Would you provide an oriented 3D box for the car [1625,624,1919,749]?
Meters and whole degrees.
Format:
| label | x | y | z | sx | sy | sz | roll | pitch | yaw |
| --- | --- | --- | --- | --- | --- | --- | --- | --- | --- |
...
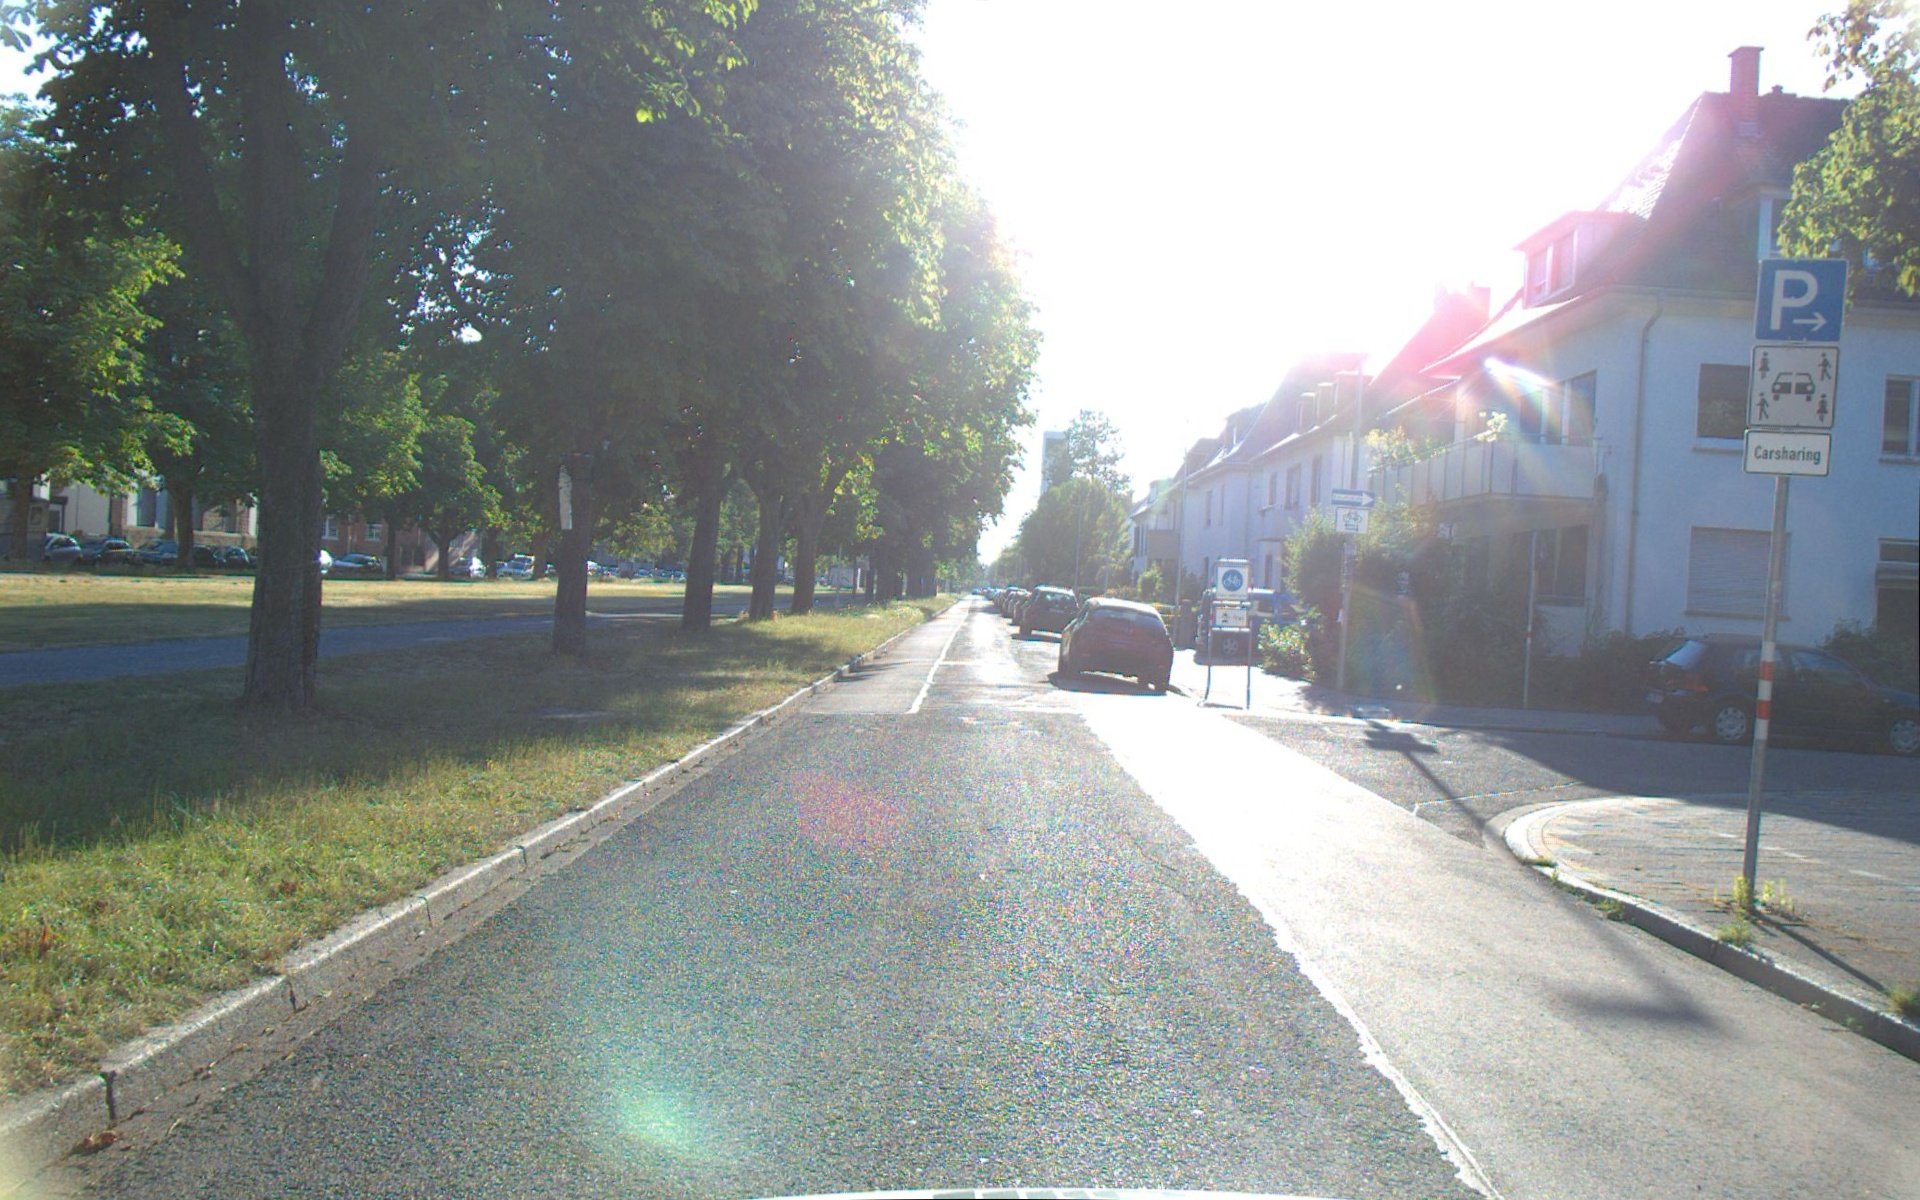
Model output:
| label | x | y | z | sx | sy | sz | roll | pitch | yaw |
| --- | --- | --- | --- | --- | --- | --- | --- | --- | --- |
| car | 11.779 | 1.213 | 23.498 | 3.906 | 1.472 | 1.716 | 4 | 0 | 0 |

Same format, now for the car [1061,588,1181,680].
| label | x | y | z | sx | sy | sz | roll | pitch | yaw |
| --- | --- | --- | --- | --- | --- | --- | --- | --- | --- |
| car | 2.830 | 0.576 | 29.805 | 1.675 | 1.383 | 4.203 | 5 | 0 | 1 |

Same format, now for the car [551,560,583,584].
| label | x | y | z | sx | sy | sz | roll | pitch | yaw |
| --- | --- | --- | --- | --- | --- | --- | --- | --- | --- |
| car | -33.318 | -2.352 | 140.190 | 1.694 | 1.718 | 3.877 | 5 | -1 | -1 |

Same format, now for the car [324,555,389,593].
| label | x | y | z | sx | sy | sz | roll | pitch | yaw |
| --- | --- | --- | --- | --- | --- | --- | --- | --- | --- |
| car | -32.734 | -1.413 | 89.814 | 1.775 | 1.811 | 4.123 | 5 | 0 | 1 |

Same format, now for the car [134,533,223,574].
| label | x | y | z | sx | sy | sz | roll | pitch | yaw |
| --- | --- | --- | --- | --- | --- | --- | --- | --- | --- |
| car | -37.693 | -2.220 | 79.853 | 1.953 | 1.687 | 4.375 | 5 | 0 | 2 |

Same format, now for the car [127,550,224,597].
| label | x | y | z | sx | sy | sz | roll | pitch | yaw |
| --- | --- | --- | --- | --- | --- | --- | --- | --- | --- |
| car | -32.979 | -1.092 | 69.657 | 1.841 | 1.703 | 4.316 | 5 | 0 | 1 |

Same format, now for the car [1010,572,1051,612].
| label | x | y | z | sx | sy | sz | roll | pitch | yaw |
| --- | --- | --- | --- | --- | --- | --- | --- | --- | --- |
| car | 3.945 | -0.435 | 93.582 | 1.954 | 2.048 | 3.999 | 5 | 0 | 0 |

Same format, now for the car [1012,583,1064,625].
| label | x | y | z | sx | sy | sz | roll | pitch | yaw |
| --- | --- | --- | --- | --- | --- | --- | --- | --- | --- |
| car | 3.436 | 0.157 | 73.729 | 1.953 | 1.682 | 4.000 | 5 | 0 | 0 |

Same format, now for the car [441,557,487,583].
| label | x | y | z | sx | sy | sz | roll | pitch | yaw |
| --- | --- | --- | --- | --- | --- | --- | --- | --- | --- |
| car | -37.809 | -2.292 | 126.153 | 1.953 | 1.687 | 4.356 | 5 | 0 | 2 |

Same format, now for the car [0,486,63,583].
| label | x | y | z | sx | sy | sz | roll | pitch | yaw |
| --- | --- | --- | --- | --- | --- | --- | --- | --- | --- |
| car | -32.890 | -2.272 | 54.188 | 2.344 | 3.184 | 7.854 | 6 | 1 | 1 |

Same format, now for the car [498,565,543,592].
| label | x | y | z | sx | sy | sz | roll | pitch | yaw |
| --- | --- | --- | --- | --- | --- | --- | --- | --- | --- |
| car | -31.991 | -1.551 | 120.560 | 1.982 | 1.687 | 3.984 | 5 | 0 | 1 |

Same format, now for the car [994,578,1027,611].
| label | x | y | z | sx | sy | sz | roll | pitch | yaw |
| --- | --- | --- | --- | --- | --- | --- | --- | --- | --- |
| car | 3.483 | -0.383 | 113.711 | 1.954 | 2.048 | 3.999 | 5 | 0 | 0 |

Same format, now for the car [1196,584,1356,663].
| label | x | y | z | sx | sy | sz | roll | pitch | yaw |
| --- | --- | --- | --- | --- | --- | --- | --- | --- | --- |
| car | 8.551 | 0.662 | 44.915 | 3.908 | 1.854 | 1.758 | 3 | -5 | -4 |

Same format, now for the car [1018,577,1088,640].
| label | x | y | z | sx | sy | sz | roll | pitch | yaw |
| --- | --- | --- | --- | --- | --- | --- | --- | --- | --- |
| car | 3.074 | 0.248 | 55.608 | 1.954 | 1.812 | 4.000 | 5 | 1 | 0 |

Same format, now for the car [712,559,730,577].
| label | x | y | z | sx | sy | sz | roll | pitch | yaw |
| --- | --- | --- | --- | --- | --- | --- | --- | --- | --- |
| car | -29.888 | -4.035 | 206.905 | 1.621 | 1.971 | 3.567 | 5 | -1 | 0 |

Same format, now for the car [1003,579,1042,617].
| label | x | y | z | sx | sy | sz | roll | pitch | yaw |
| --- | --- | --- | --- | --- | --- | --- | --- | --- | --- |
| car | 3.720 | -0.114 | 99.266 | 1.954 | 2.048 | 3.999 | 5 | 0 | 0 |
